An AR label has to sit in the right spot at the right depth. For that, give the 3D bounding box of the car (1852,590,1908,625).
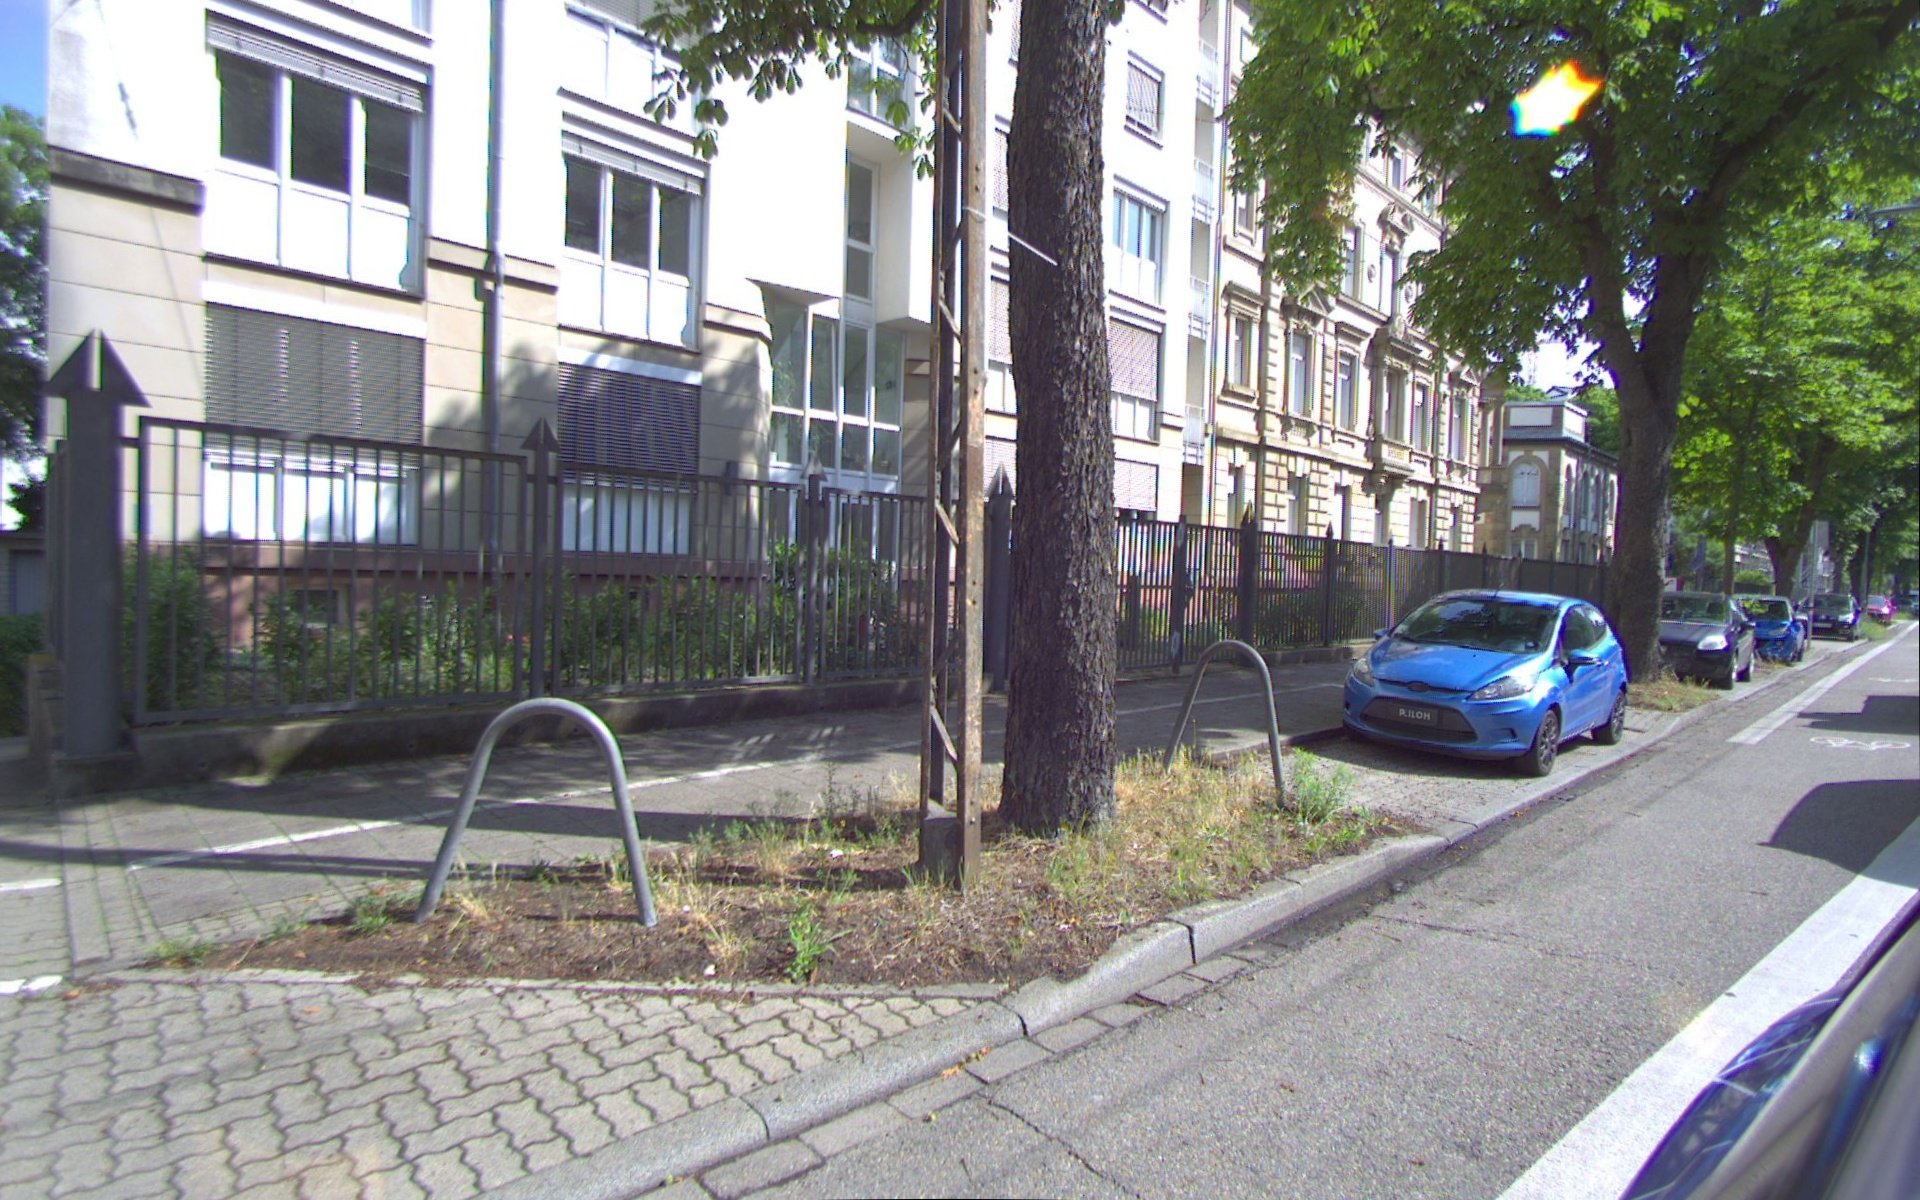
[{"bbox_3d":[46.888,0.357,51.565,4.130,1.591,1.772,0,4,-44],"label":"car"}]

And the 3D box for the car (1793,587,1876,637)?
[{"bbox_3d":[30.904,0.395,35.730,4.130,1.549,1.772,0,4,-44],"label":"car"}]

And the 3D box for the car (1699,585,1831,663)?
[{"bbox_3d":[17.882,0.470,22.431,3.861,1.469,1.722,0,4,-44],"label":"car"}]

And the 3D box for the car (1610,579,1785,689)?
[{"bbox_3d":[12.256,0.485,16.744,3.562,1.526,1.643,0,4,-43],"label":"car"}]

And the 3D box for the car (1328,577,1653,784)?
[{"bbox_3d":[5.092,0.585,9.500,1.639,1.472,3.639,5,4,45],"label":"car"}]
